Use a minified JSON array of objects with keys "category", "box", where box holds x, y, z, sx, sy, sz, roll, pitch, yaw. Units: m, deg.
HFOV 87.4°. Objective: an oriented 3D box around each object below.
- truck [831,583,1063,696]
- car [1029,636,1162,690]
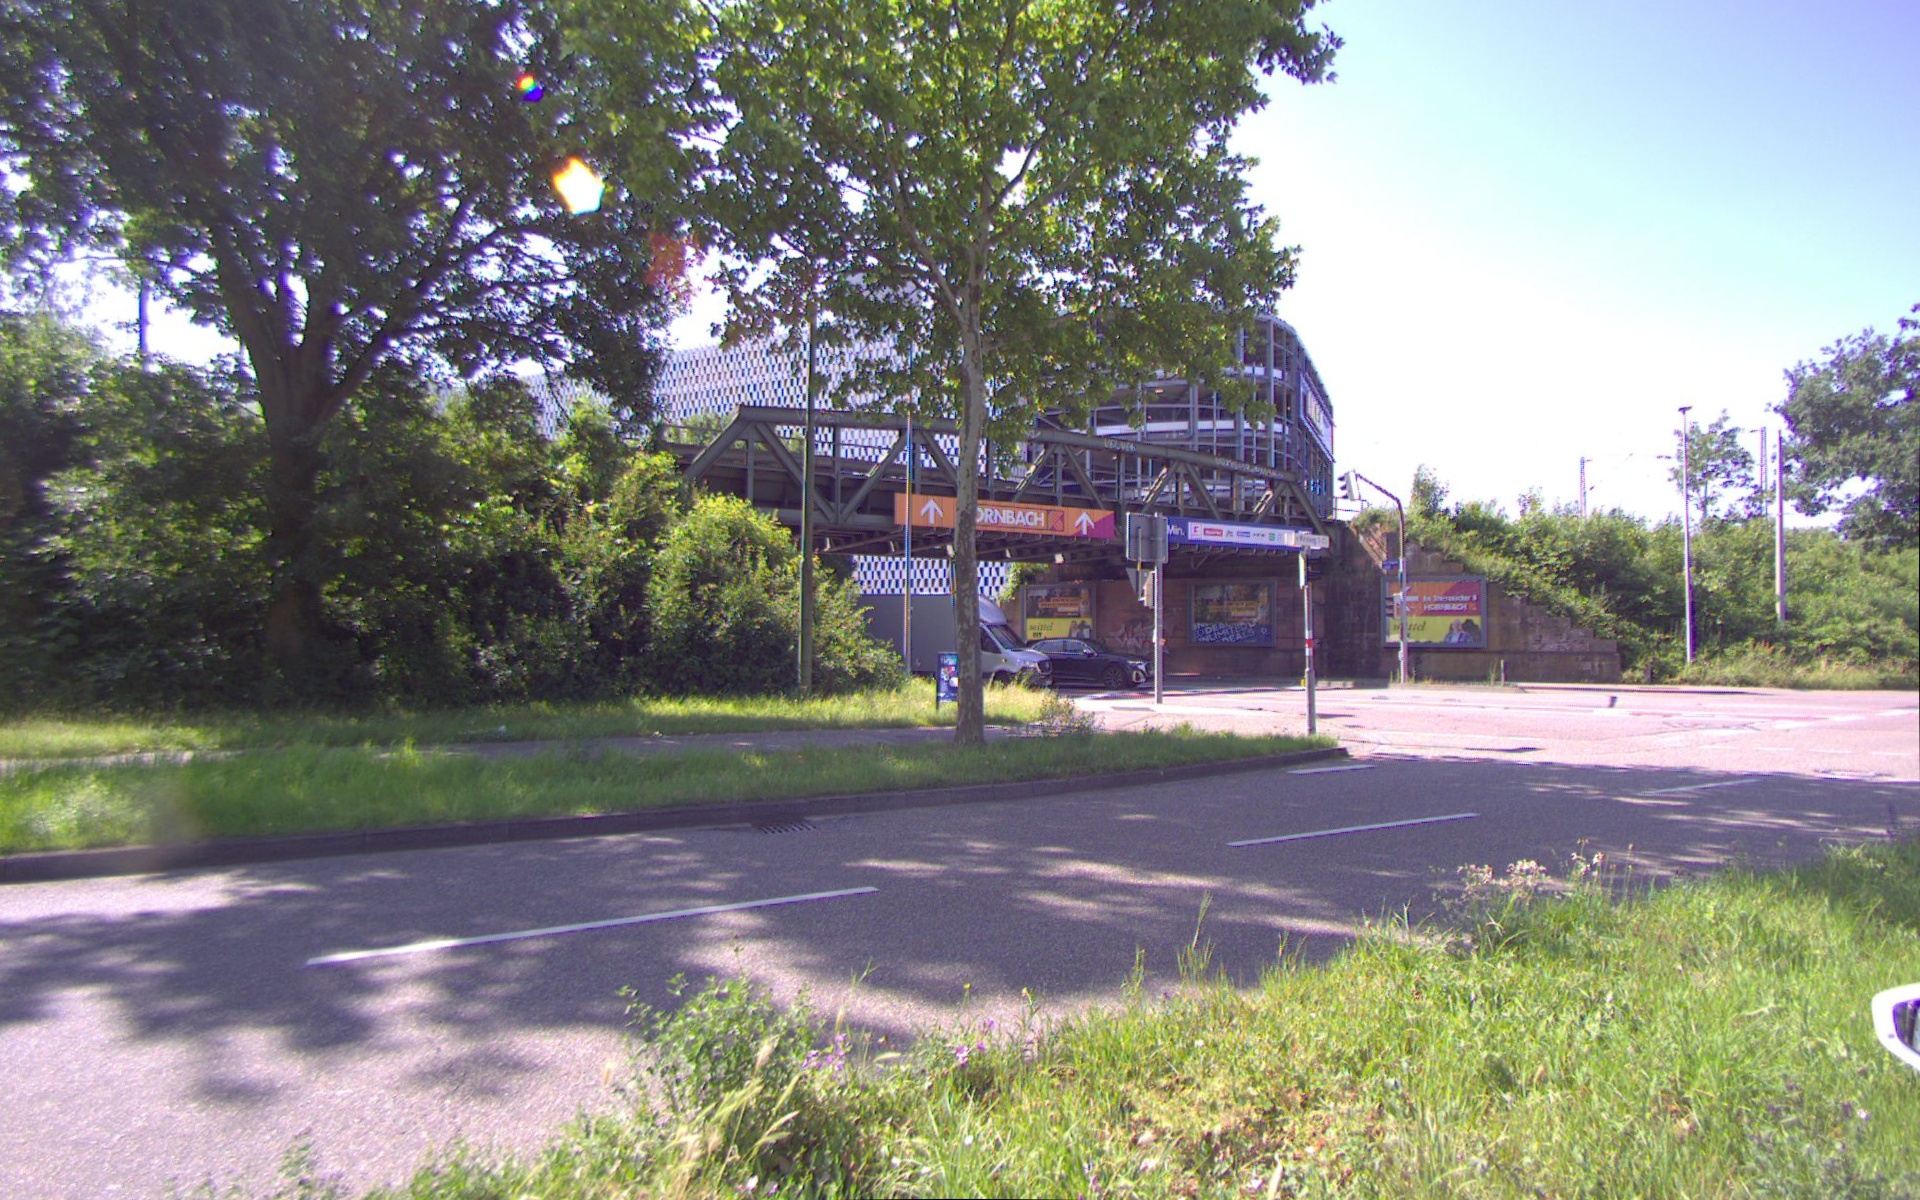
[{"category":"truck","box":[-0.464,1.226,30.450,6.738,3.146,2.216,-2,-2,26]},{"category":"car","box":[4.435,2.054,32.993,3.926,1.668,1.903,-2,-2,26]}]
